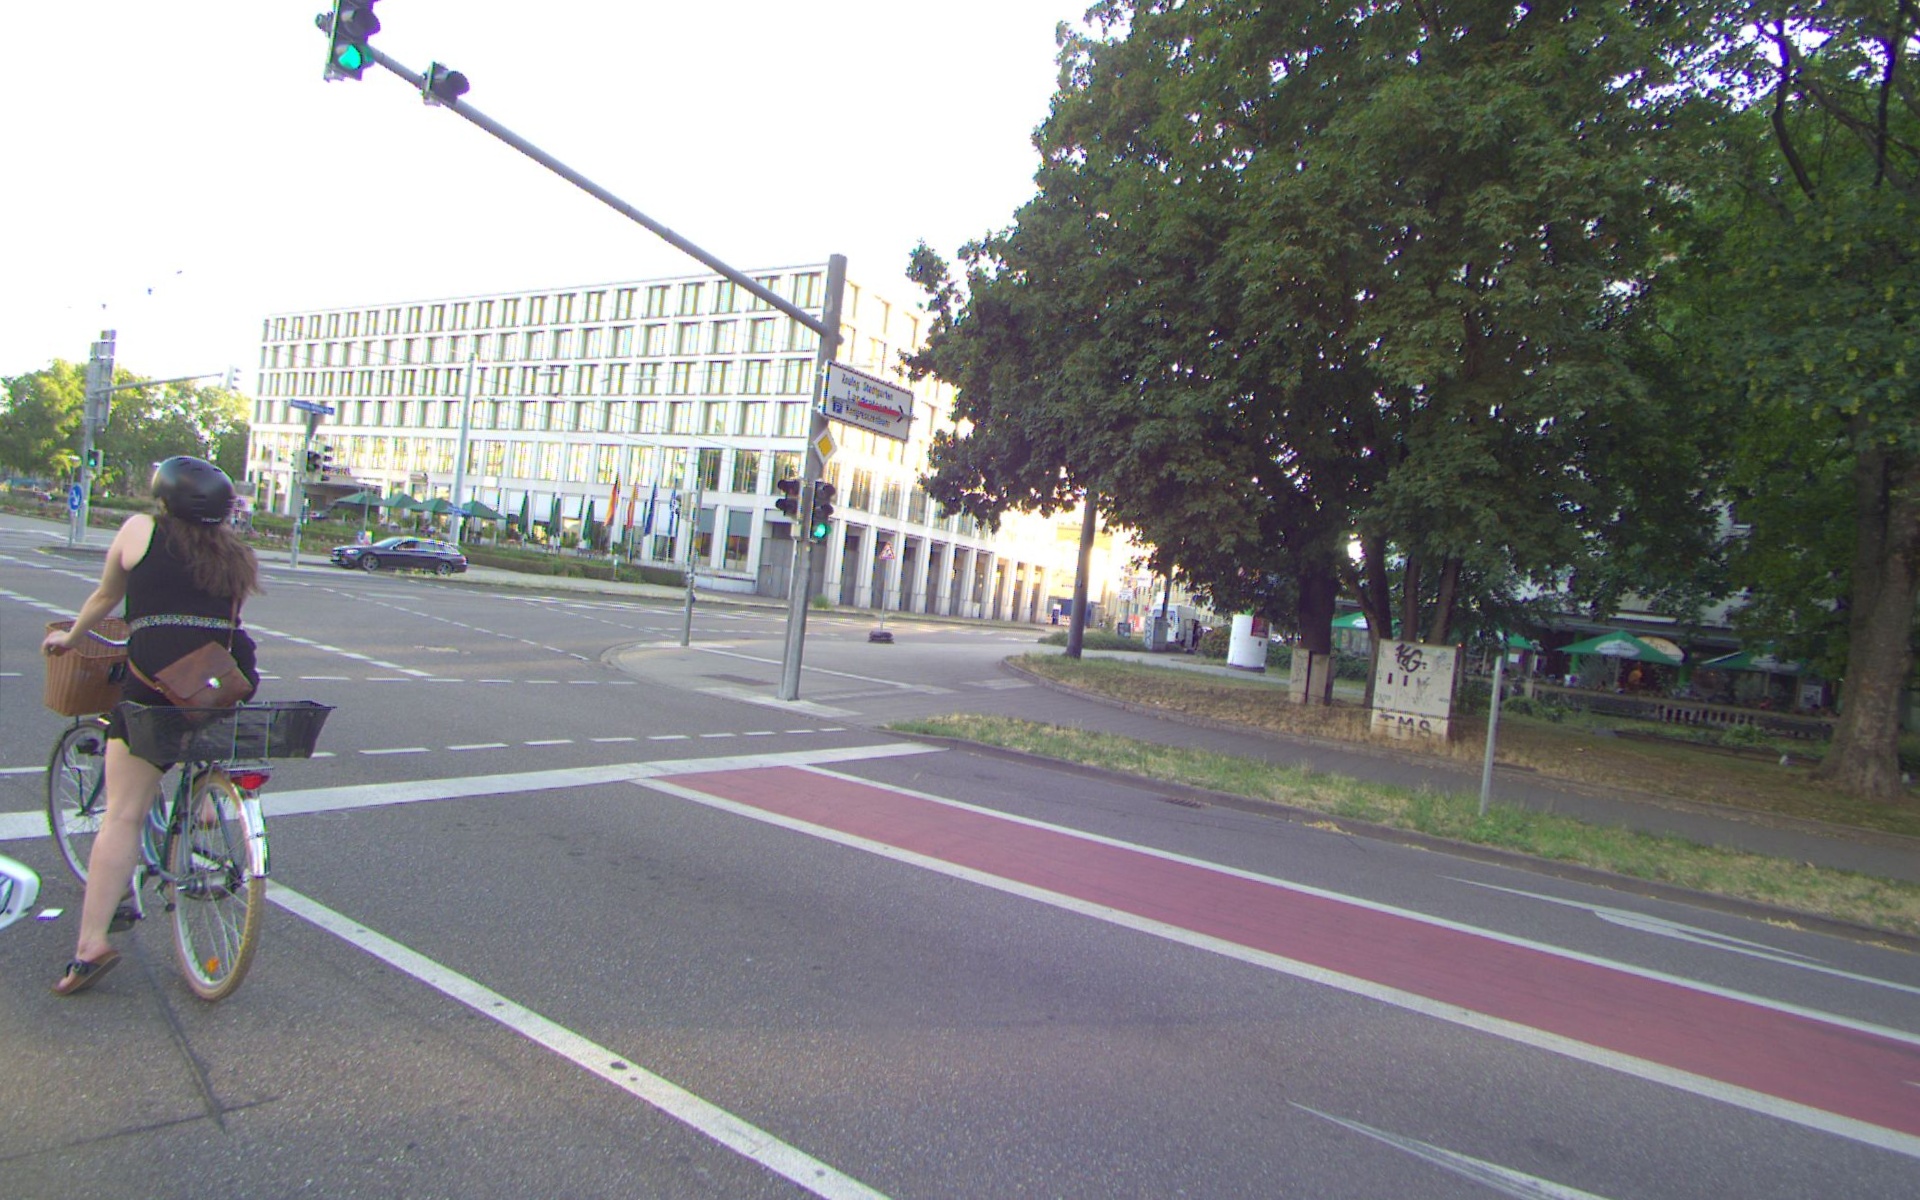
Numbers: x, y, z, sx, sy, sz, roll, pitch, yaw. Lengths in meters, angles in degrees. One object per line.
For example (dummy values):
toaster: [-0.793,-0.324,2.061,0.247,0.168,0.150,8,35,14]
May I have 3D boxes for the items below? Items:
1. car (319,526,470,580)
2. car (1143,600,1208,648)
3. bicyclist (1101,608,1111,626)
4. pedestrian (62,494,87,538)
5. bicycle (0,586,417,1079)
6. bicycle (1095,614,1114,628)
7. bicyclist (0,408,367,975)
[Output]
car: [-22.501,-1.826,40.220,1.968,1.534,4.826,7,0,34]
car: [11.971,1.366,55.606,1.967,2.318,4.605,6,0,31]
bicyclist: [13.202,1.537,91.008,0.567,1.556,0.708,7,1,29]
pedestrian: [-32.734,-3.108,37.199,0.402,1.559,0.491,7,2,31]
bicycle: [-2.782,0.631,3.450,1.971,1.146,0.612,7,-1,32]
bicycle: [13.054,1.871,90.837,0.592,1.120,2.775,7,0,29]
bicyclist: [-2.693,0.244,3.430,0.982,1.655,0.600,7,0,32]
